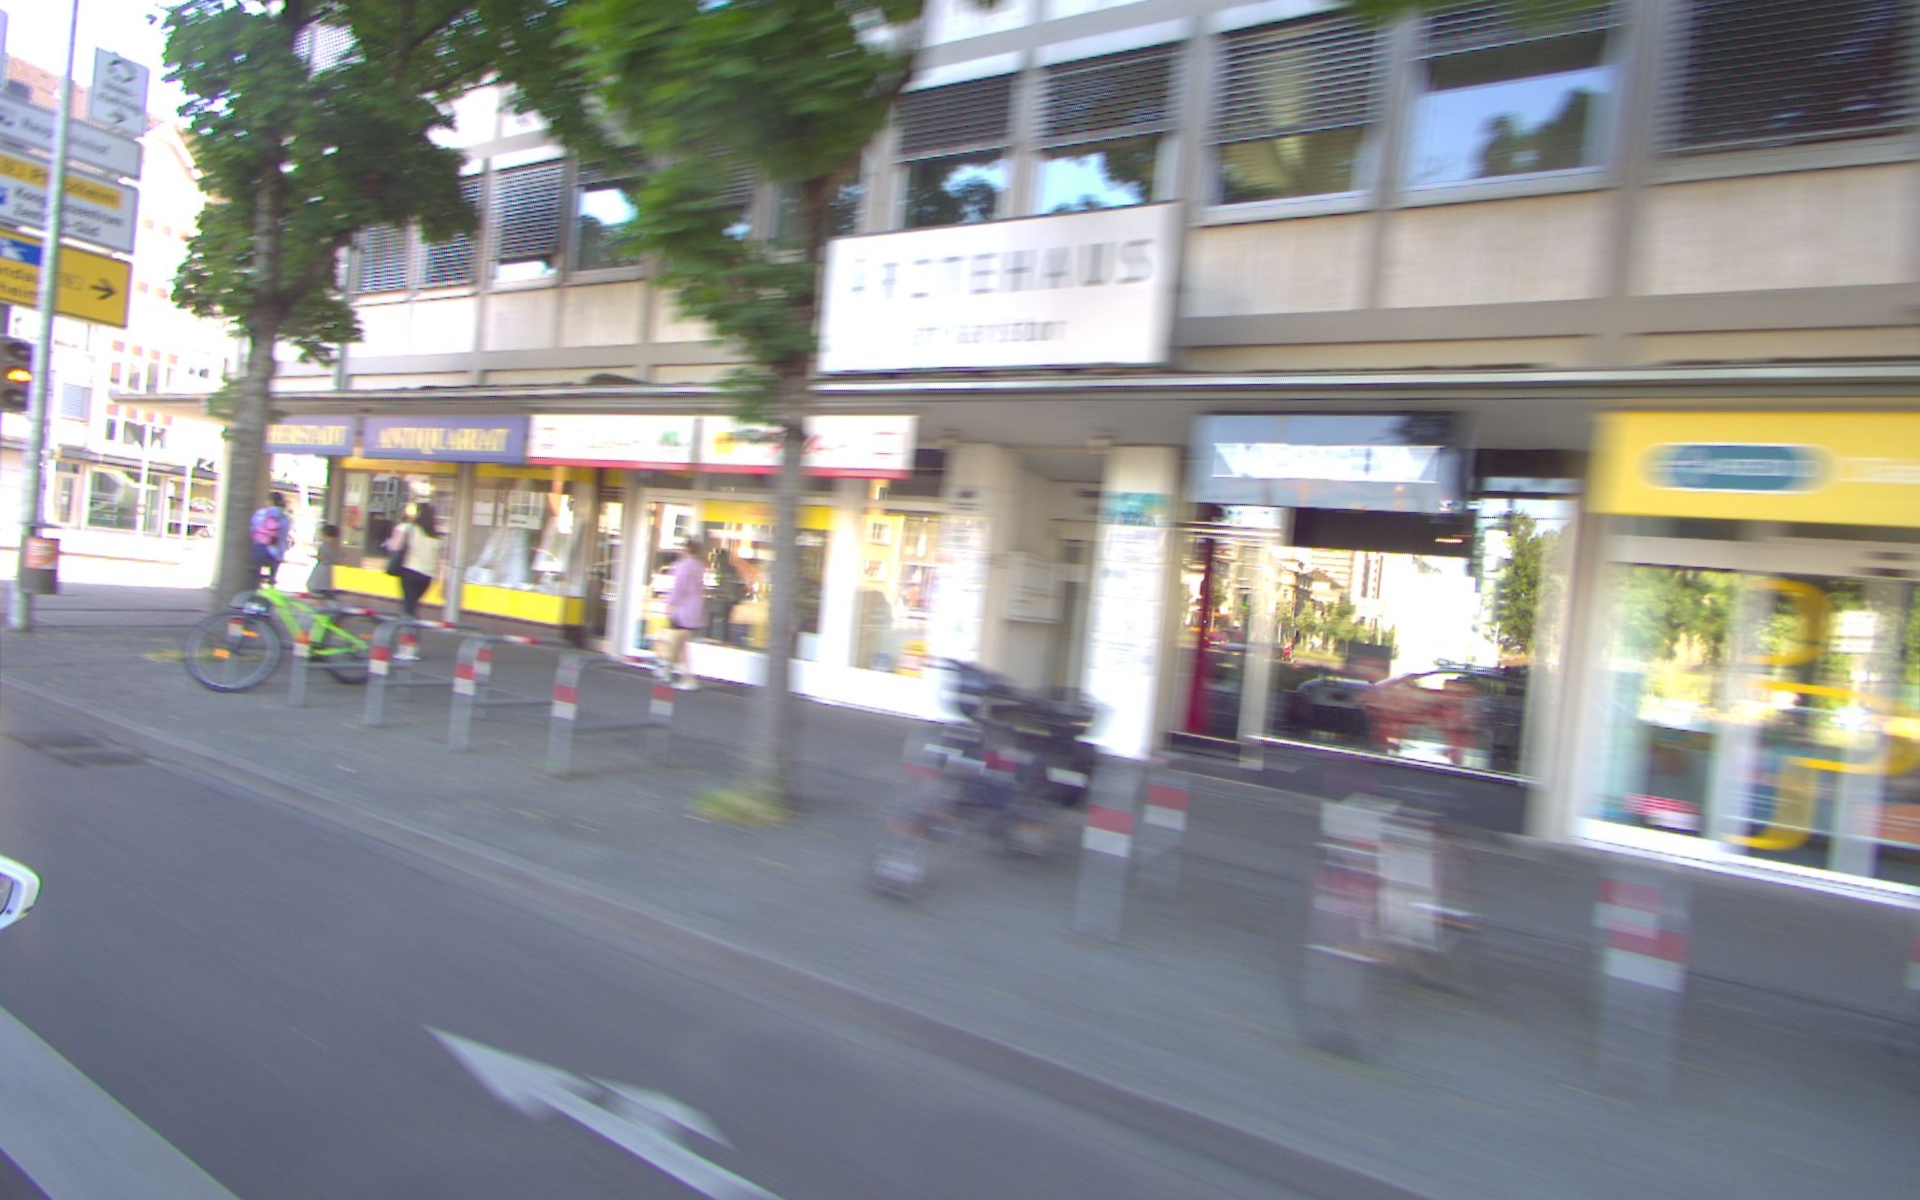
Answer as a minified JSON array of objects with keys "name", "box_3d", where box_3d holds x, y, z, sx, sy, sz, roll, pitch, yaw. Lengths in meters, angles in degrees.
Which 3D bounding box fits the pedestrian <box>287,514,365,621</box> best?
[{"name":"pedestrian","box_3d":[-9.151,-0.464,14.522,0.611,1.439,0.645,6,0,33]}]

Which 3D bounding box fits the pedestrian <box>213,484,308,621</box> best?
[{"name":"pedestrian","box_3d":[-9.608,-0.648,13.817,0.840,1.742,0.869,6,0,-43]}]

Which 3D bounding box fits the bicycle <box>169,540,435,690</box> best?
[{"name":"bicycle","box_3d":[-5.713,0.145,8.870,0.472,1.172,1.890,6,1,32]}]

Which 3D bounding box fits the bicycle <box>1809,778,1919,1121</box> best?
[{"name":"bicycle","box_3d":[3.526,1.283,3.337,0.392,1.070,1.854,6,1,21]}]

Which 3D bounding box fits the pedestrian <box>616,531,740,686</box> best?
[{"name":"pedestrian","box_3d":[-3.158,0.101,11.308,0.865,1.622,0.844,6,0,31]}]

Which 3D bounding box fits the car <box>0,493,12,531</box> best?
[{"name":"car","box_3d":[-38.513,-3.545,37.762,1.772,1.449,3.849,4,-1,26]}]

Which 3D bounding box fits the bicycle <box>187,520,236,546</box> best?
[{"name":"bicycle","box_3d":[-38.570,-3.452,51.857,0.527,1.062,1.973,6,-1,23]}]

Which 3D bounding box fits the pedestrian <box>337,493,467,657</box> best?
[{"name":"pedestrian","box_3d":[-6.291,-0.273,11.358,0.865,1.728,0.844,6,0,31]}]

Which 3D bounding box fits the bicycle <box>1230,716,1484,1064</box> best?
[{"name":"bicycle","box_3d":[1.716,1.055,4.167,0.451,1.070,1.767,6,-1,37]}]

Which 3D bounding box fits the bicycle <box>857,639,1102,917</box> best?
[{"name":"bicycle","box_3d":[0.187,0.822,5.263,0.428,1.166,1.812,6,0,27]}]
